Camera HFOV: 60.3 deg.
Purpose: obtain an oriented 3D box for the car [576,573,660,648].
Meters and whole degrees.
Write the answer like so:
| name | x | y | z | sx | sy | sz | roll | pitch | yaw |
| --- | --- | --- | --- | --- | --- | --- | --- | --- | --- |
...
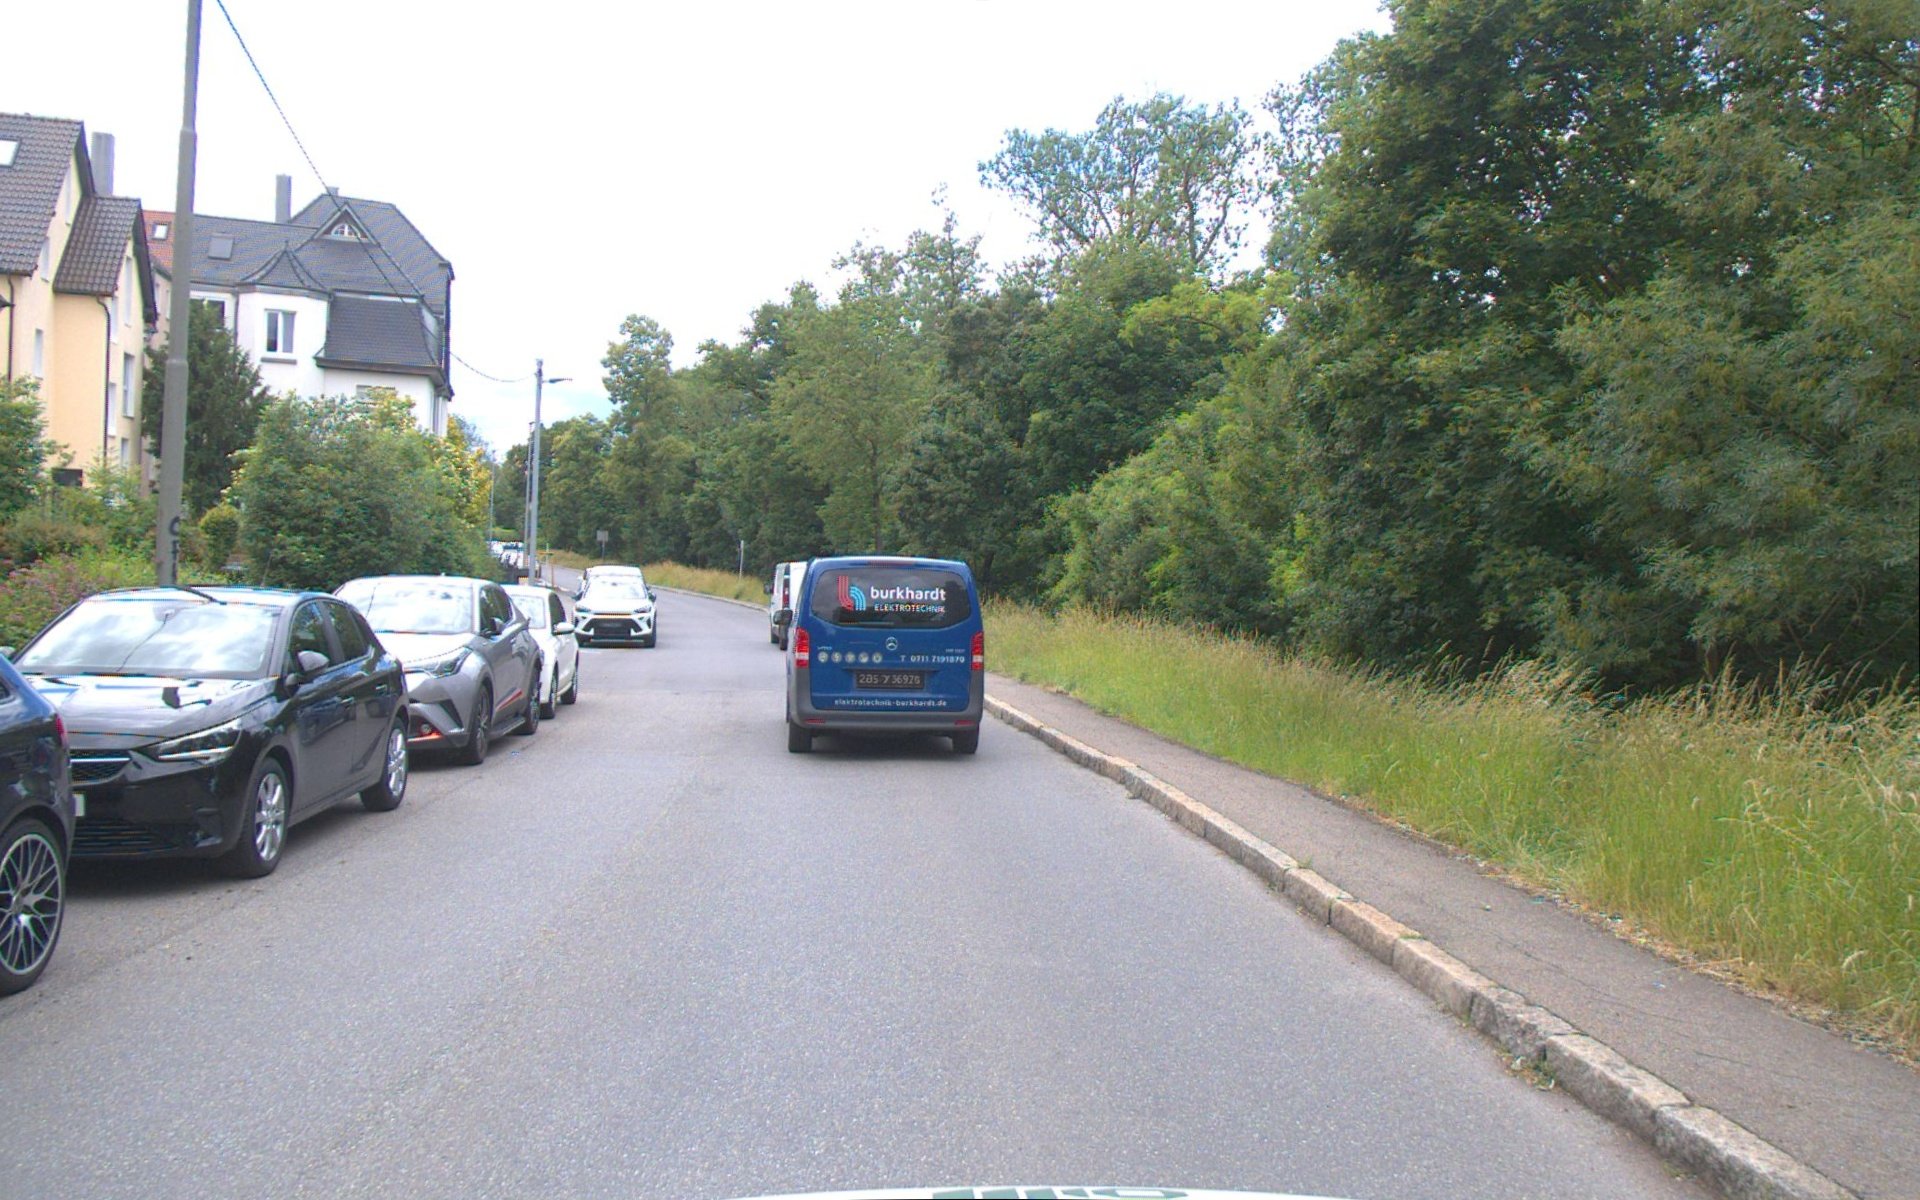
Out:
| name | x | y | z | sx | sy | sz | roll | pitch | yaw |
| --- | --- | --- | --- | --- | --- | --- | --- | --- | --- |
| car | -7.739 | 0.216 | 37.757 | 1.693 | 1.518 | 4.403 | 3 | 0 | -10 |

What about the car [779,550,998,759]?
| name | x | y | z | sx | sy | sz | roll | pitch | yaw |
| --- | --- | --- | --- | --- | --- | --- | --- | --- | --- |
| car | -0.874 | 0.484 | 17.093 | 1.877 | 1.870 | 4.287 | 1 | 0 | -7 |

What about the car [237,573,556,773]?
| name | x | y | z | sx | sy | sz | roll | pitch | yaw |
| --- | --- | --- | --- | --- | --- | --- | --- | --- | --- |
| car | -4.892 | 0.561 | 14.959 | 1.727 | 1.506 | 4.123 | 2 | 0 | -5 |

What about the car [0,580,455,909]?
| name | x | y | z | sx | sy | sz | roll | pitch | yaw |
| --- | --- | --- | --- | --- | --- | --- | --- | --- | --- |
| car | -4.300 | 0.651 | 9.696 | 1.617 | 1.467 | 4.329 | 2 | 0 | -5 |

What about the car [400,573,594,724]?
| name | x | y | z | sx | sy | sz | roll | pitch | yaw |
| --- | --- | --- | --- | --- | --- | --- | --- | --- | --- |
| car | -5.333 | 0.505 | 19.474 | 1.592 | 1.506 | 3.921 | 4 | 0 | -8 |

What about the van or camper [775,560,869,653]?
| name | x | y | z | sx | sy | sz | roll | pitch | yaw |
| --- | --- | --- | --- | --- | --- | --- | --- | --- | --- |
| van or camper | -3.262 | 0.091 | 38.330 | 1.981 | 1.991 | 4.889 | 0 | 1 | -7 |

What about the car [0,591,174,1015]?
| name | x | y | z | sx | sy | sz | roll | pitch | yaw |
| --- | --- | --- | --- | --- | --- | --- | --- | --- | --- |
| car | -4.082 | 0.693 | 4.749 | 1.700 | 1.443 | 4.501 | 1 | 0 | -4 |
